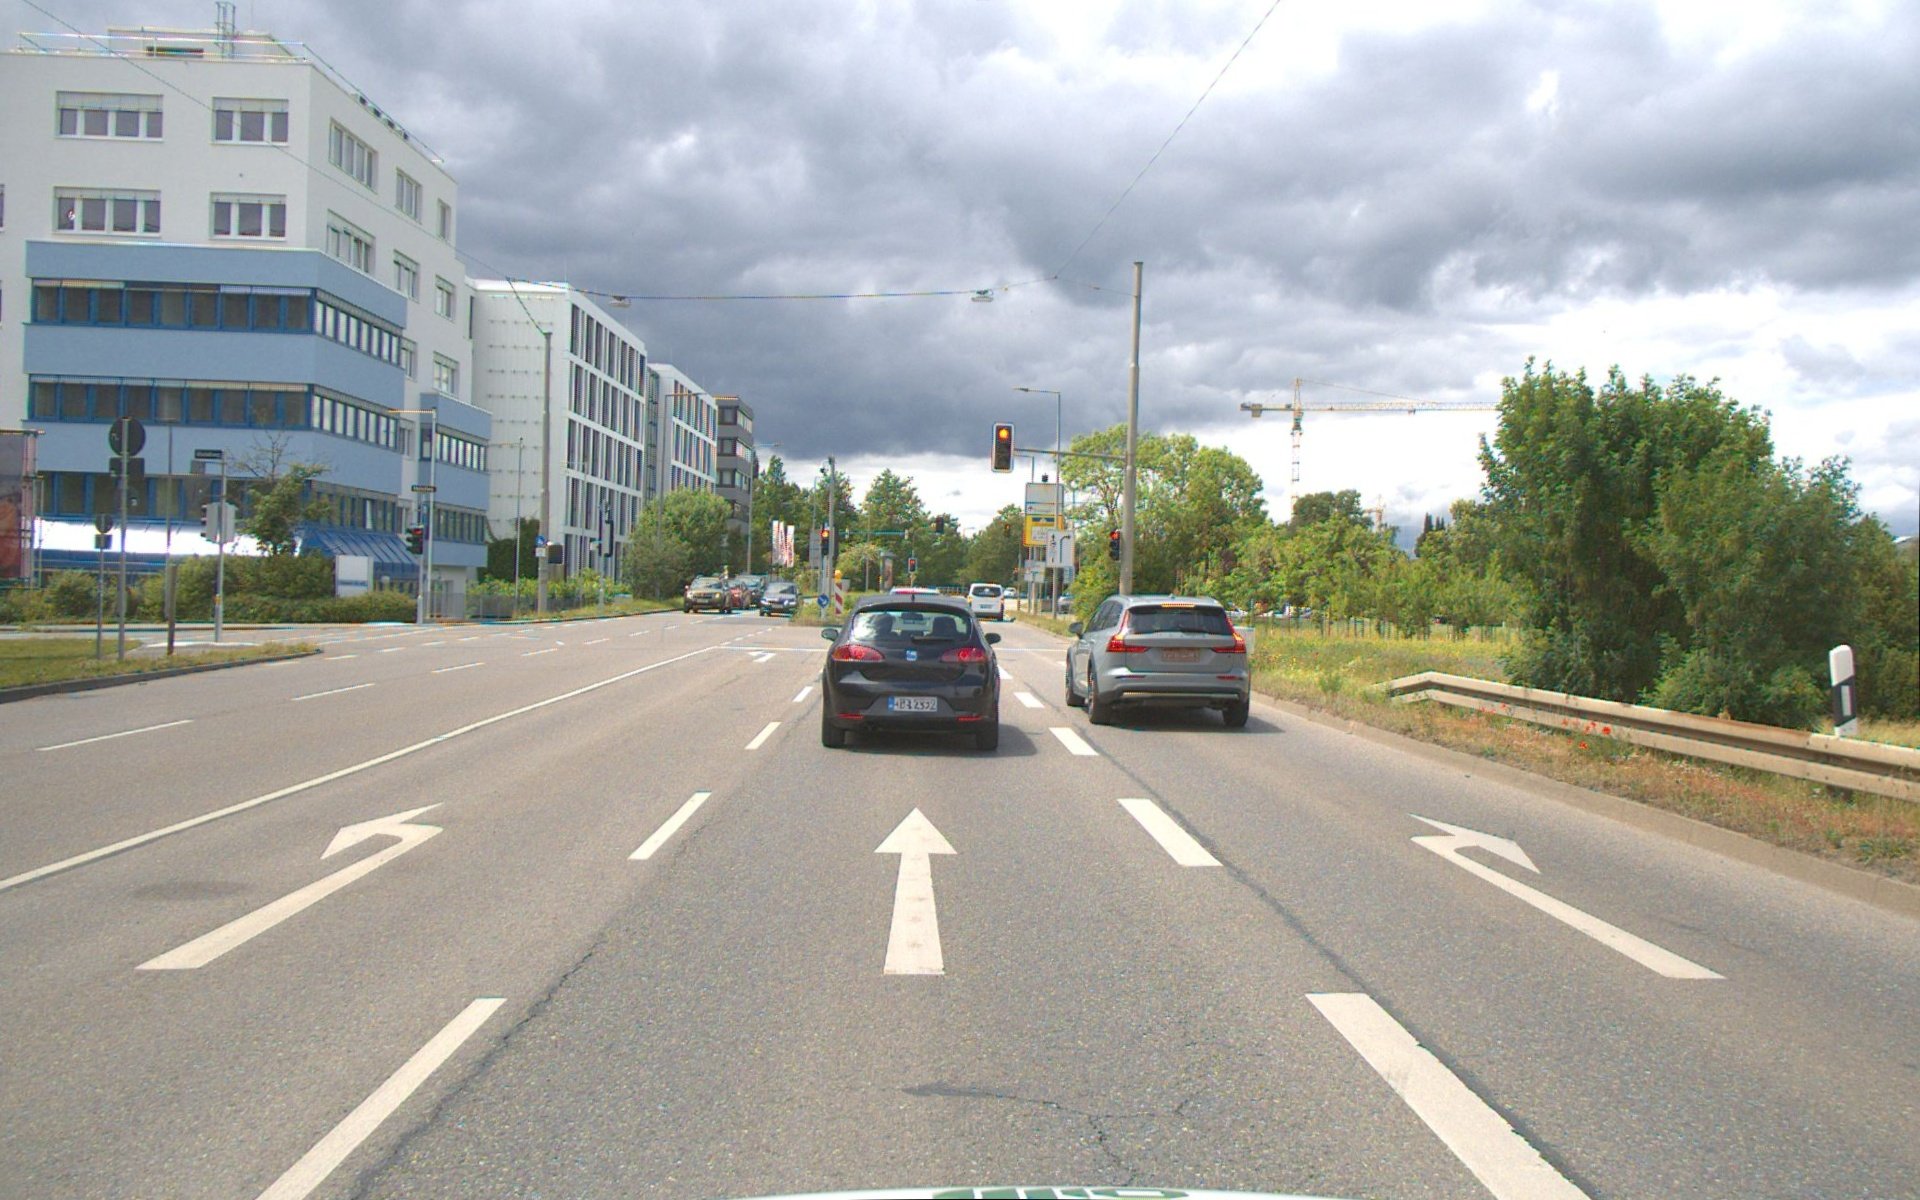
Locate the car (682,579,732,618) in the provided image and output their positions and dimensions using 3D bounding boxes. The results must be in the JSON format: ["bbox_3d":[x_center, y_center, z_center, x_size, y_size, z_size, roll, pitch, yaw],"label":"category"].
[{"bbox_3d":[-11.180,-0.075,73.349,1.716,1.659,3.998,0,0,-2],"label":"car"}]

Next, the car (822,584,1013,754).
[{"bbox_3d":[-0.336,0.629,16.938,1.711,1.510,4.001,1,0,1],"label":"car"}]

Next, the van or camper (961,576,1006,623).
[{"bbox_3d":[1.180,-0.001,84.841,1.862,1.960,3.994,2,-6,-6],"label":"van or camper"}]

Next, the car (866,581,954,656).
[{"bbox_3d":[-1.225,0.396,39.683,1.944,1.618,4.224,2,1,-3],"label":"car"}]

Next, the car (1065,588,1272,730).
[{"bbox_3d":[2.434,0.655,20.376,1.918,1.552,4.339,0,0,-1],"label":"car"}]

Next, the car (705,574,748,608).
[{"bbox_3d":[-11.758,-0.432,83.457,1.740,1.640,3.998,1,0,-2],"label":"car"}]

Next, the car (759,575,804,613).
[{"bbox_3d":[-7.739,-0.291,72.091,1.635,1.551,4.007,-1,2,-2],"label":"car"}]
